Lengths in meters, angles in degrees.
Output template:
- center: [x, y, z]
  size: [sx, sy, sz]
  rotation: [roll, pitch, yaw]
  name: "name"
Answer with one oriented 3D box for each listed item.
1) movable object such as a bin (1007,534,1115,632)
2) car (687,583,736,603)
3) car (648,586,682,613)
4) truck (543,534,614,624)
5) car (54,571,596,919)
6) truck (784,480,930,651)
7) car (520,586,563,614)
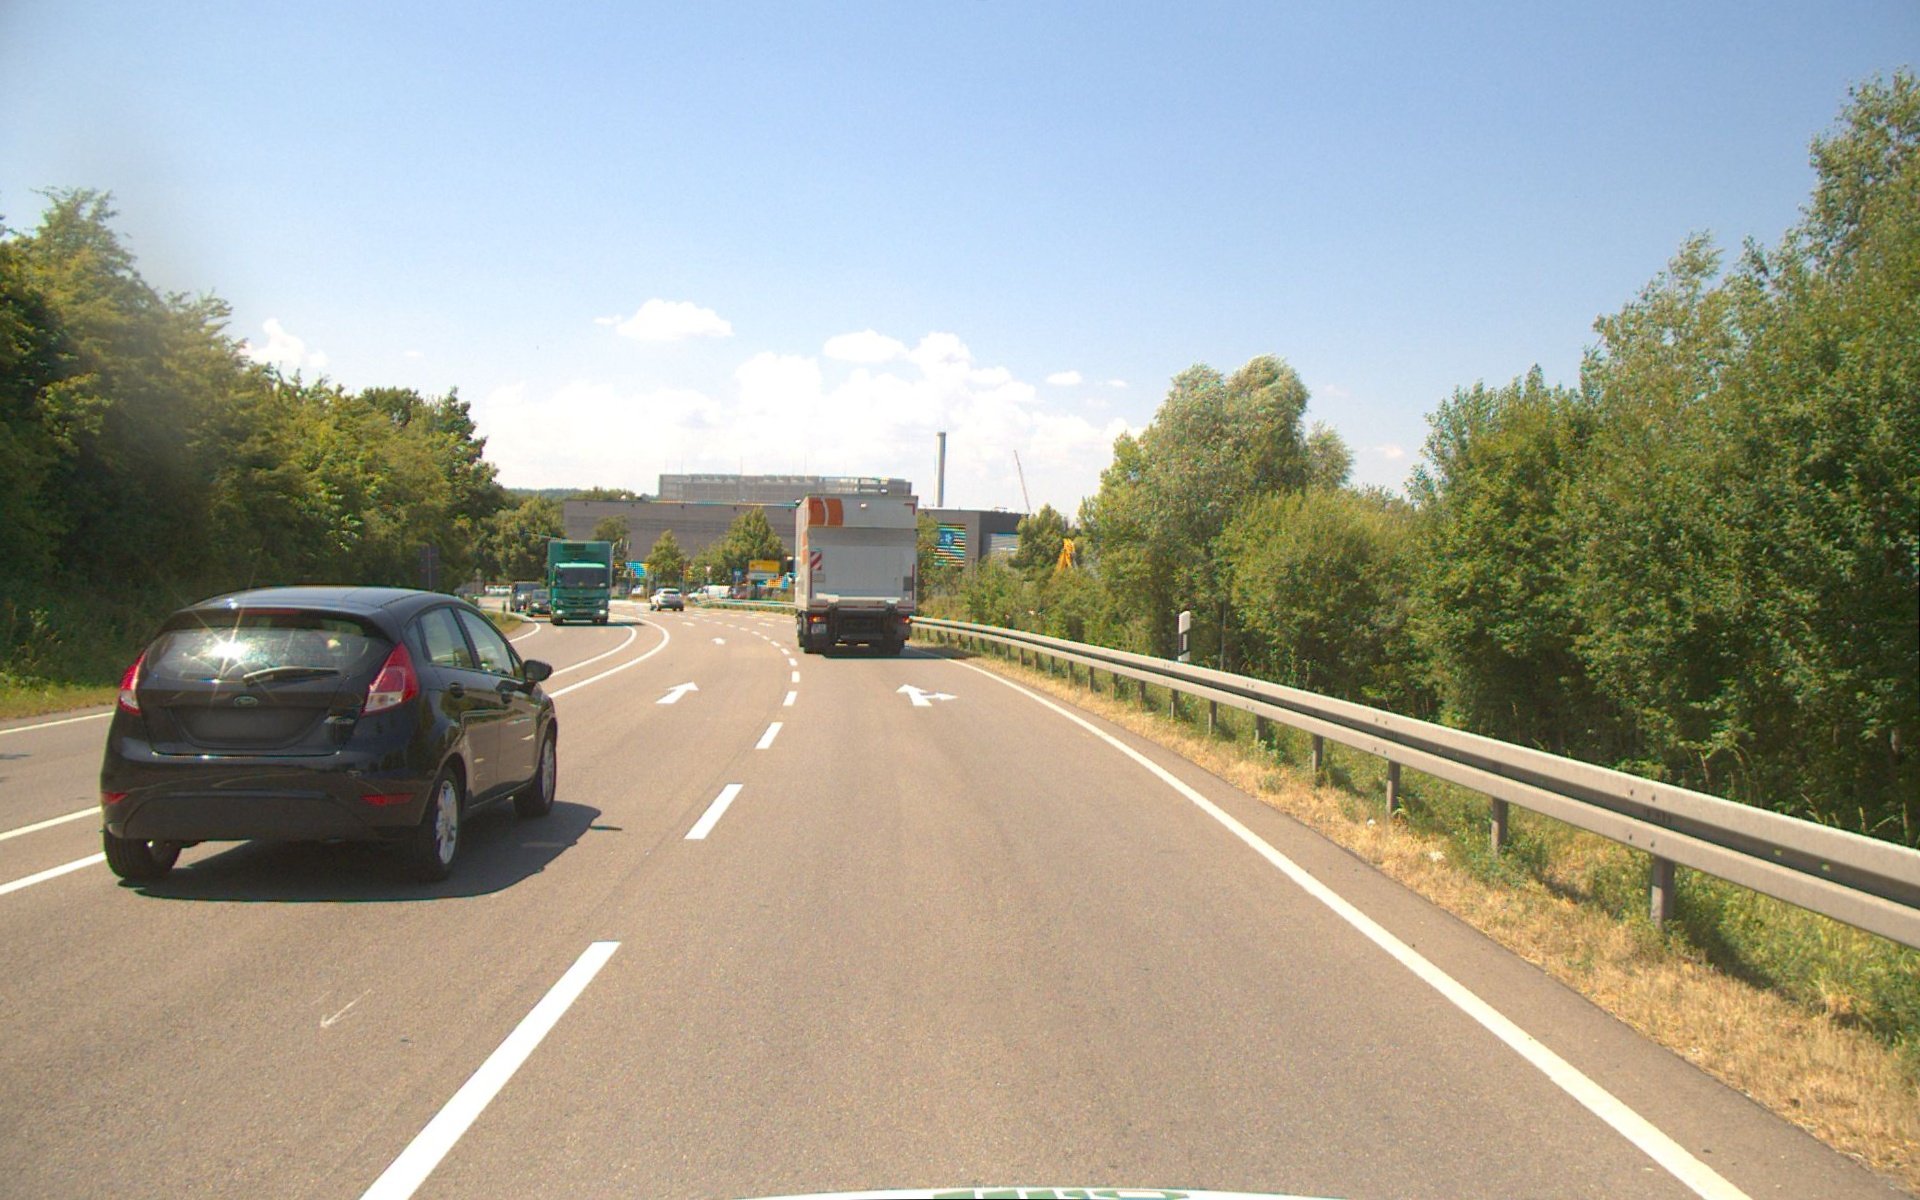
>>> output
- center: [5.921, -1.141, 99.327]
  size: [3.369, 5.351, 9.190]
  rotation: [2, 2, -16]
  name: "movable object such as a bin"
- center: [-25.714, -0.730, 171.380]
  size: [4.646, 1.966, 2.154]
  rotation: [0, 0, 2]
  name: "car"
- center: [-20.139, -0.075, 112.835]
  size: [1.912, 1.693, 3.984]
  rotation: [3, 0, -15]
  name: "car"
- center: [-16.447, -0.906, 71.686]
  size: [2.818, 3.636, 9.402]
  rotation: [0, 0, -12]
  name: "truck"
- center: [-3.376, 0.633, 9.697]
  size: [1.619, 1.519, 4.207]
  rotation: [1, 1, -2]
  name: "car"
- center: [-2.774, -0.840, 41.467]
  size: [2.752, 3.775, 9.089]
  rotation: [1, 1, -9]
  name: "truck"
- center: [-22.712, -0.010, 89.943]
  size: [1.842, 1.467, 4.321]
  rotation: [0, 0, -9]
  name: "car"
